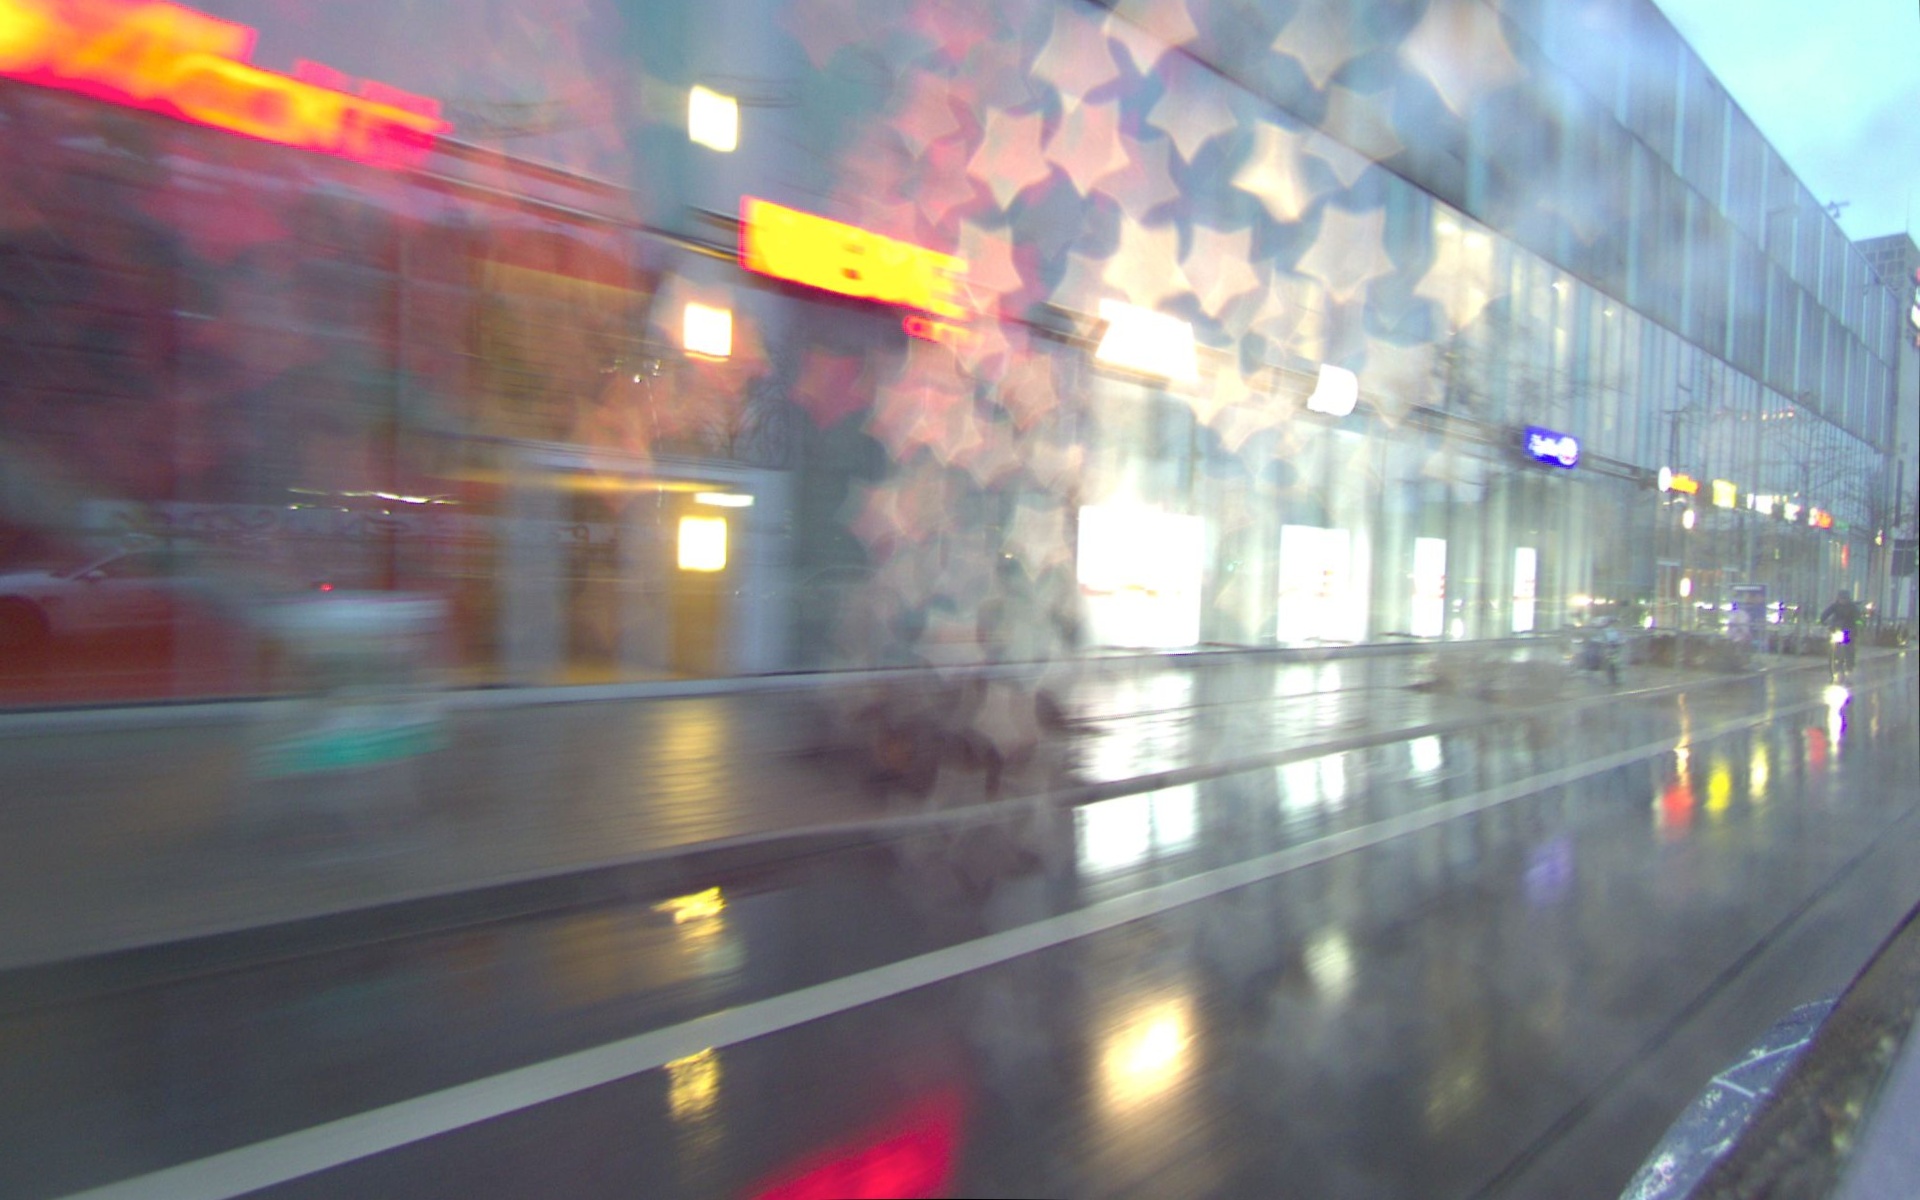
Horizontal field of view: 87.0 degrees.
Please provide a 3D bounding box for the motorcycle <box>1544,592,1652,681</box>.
[{"bbox_3d":[10.761,0.579,17.143,0.584,1.350,1.910,1,2,0],"label":"motorcycle"}]

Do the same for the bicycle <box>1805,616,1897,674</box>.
[{"bbox_3d":[17.208,0.845,19.531,2.199,1.012,0.945,0,1,-38],"label":"bicycle"}]

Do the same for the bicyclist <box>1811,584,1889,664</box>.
[{"bbox_3d":[17.184,0.436,19.544,1.047,1.481,0.945,0,1,-38],"label":"bicyclist"}]
